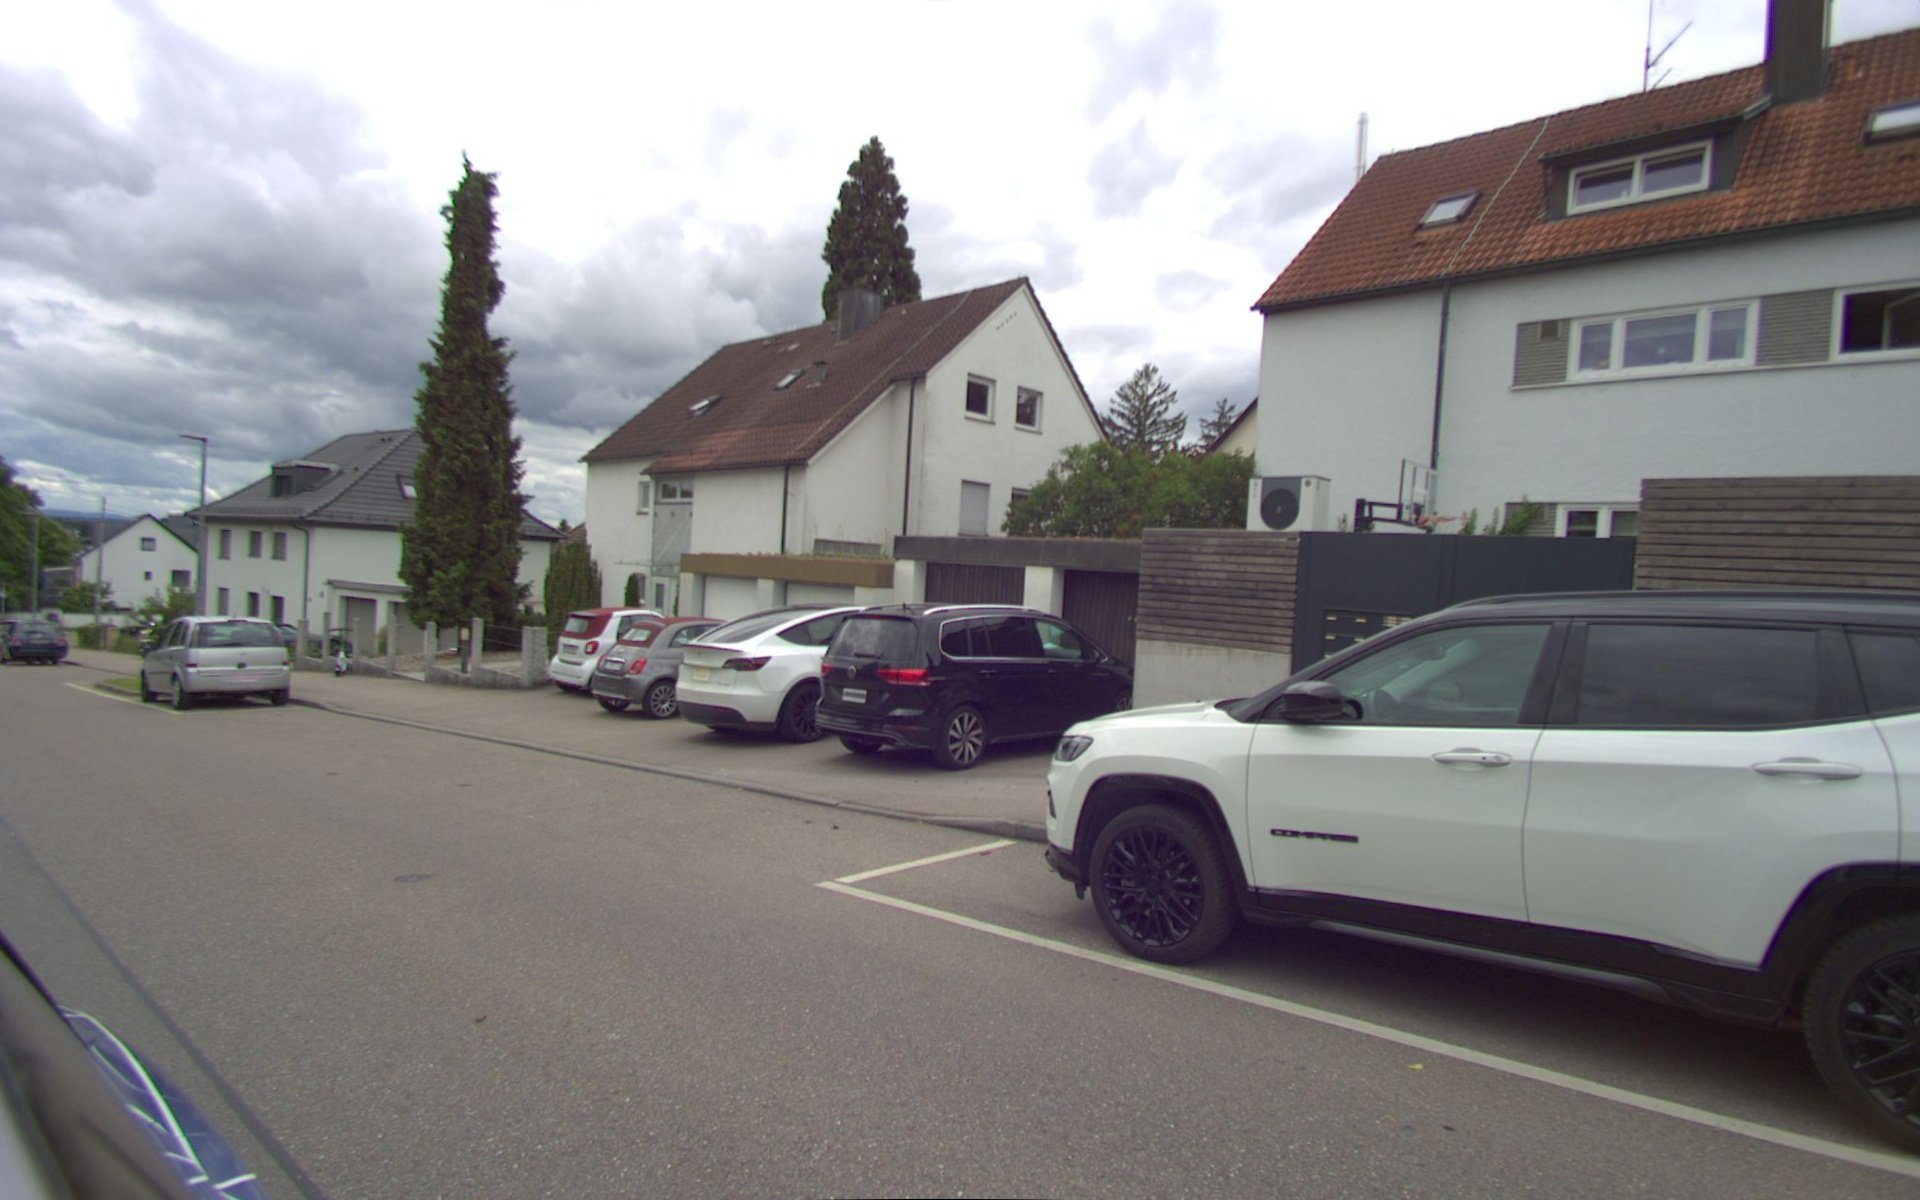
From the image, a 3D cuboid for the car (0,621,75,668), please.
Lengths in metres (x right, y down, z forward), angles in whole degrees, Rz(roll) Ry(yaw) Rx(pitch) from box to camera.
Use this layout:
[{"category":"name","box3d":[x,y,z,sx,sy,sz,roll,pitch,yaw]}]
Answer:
[{"category":"car","box3d":[-32.070,1.490,34.954,3.506,1.548,1.858,-1,-2,42]}]

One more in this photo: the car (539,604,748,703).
[{"category":"car","box3d":[-5.904,0.921,19.109,1.657,1.590,3.392,0,2,42]}]

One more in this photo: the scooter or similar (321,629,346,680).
[{"category":"scooter or similar","box3d":[-15.265,1.305,24.650,0.468,1.157,1.458,-1,0,-33]}]

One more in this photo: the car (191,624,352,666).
[{"category":"car","box3d":[-23.943,1.516,35.323,1.900,1.378,4.248,-1,-2,36]}]

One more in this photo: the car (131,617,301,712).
[{"category":"car","box3d":[-13.855,1.126,18.777,3.853,1.575,1.742,-1,-3,41]}]

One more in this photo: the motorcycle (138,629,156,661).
[{"category":"motorcycle","box3d":[-30.892,1.695,38.458,0.424,1.169,1.865,3,-2,-41]}]

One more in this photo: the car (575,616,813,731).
[{"category":"car","box3d":[-4.257,1.094,16.505,1.692,1.523,3.392,0,2,42]}]

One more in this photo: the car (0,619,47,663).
[{"category":"car","box3d":[-36.225,1.538,38.461,3.870,1.597,1.858,-1,-2,42]}]

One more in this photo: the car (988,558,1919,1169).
[{"category":"car","box3d":[2.379,0.781,4.295,4.407,1.679,1.817,-1,-3,42]}]

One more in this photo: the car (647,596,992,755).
[{"category":"car","box3d":[-1.696,0.842,13.500,1.909,1.641,4.367,-1,1,40]}]

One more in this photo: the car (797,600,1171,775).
[{"category":"car","box3d":[0.427,0.856,11.562,4.247,1.624,1.855,1,-2,-45]}]
